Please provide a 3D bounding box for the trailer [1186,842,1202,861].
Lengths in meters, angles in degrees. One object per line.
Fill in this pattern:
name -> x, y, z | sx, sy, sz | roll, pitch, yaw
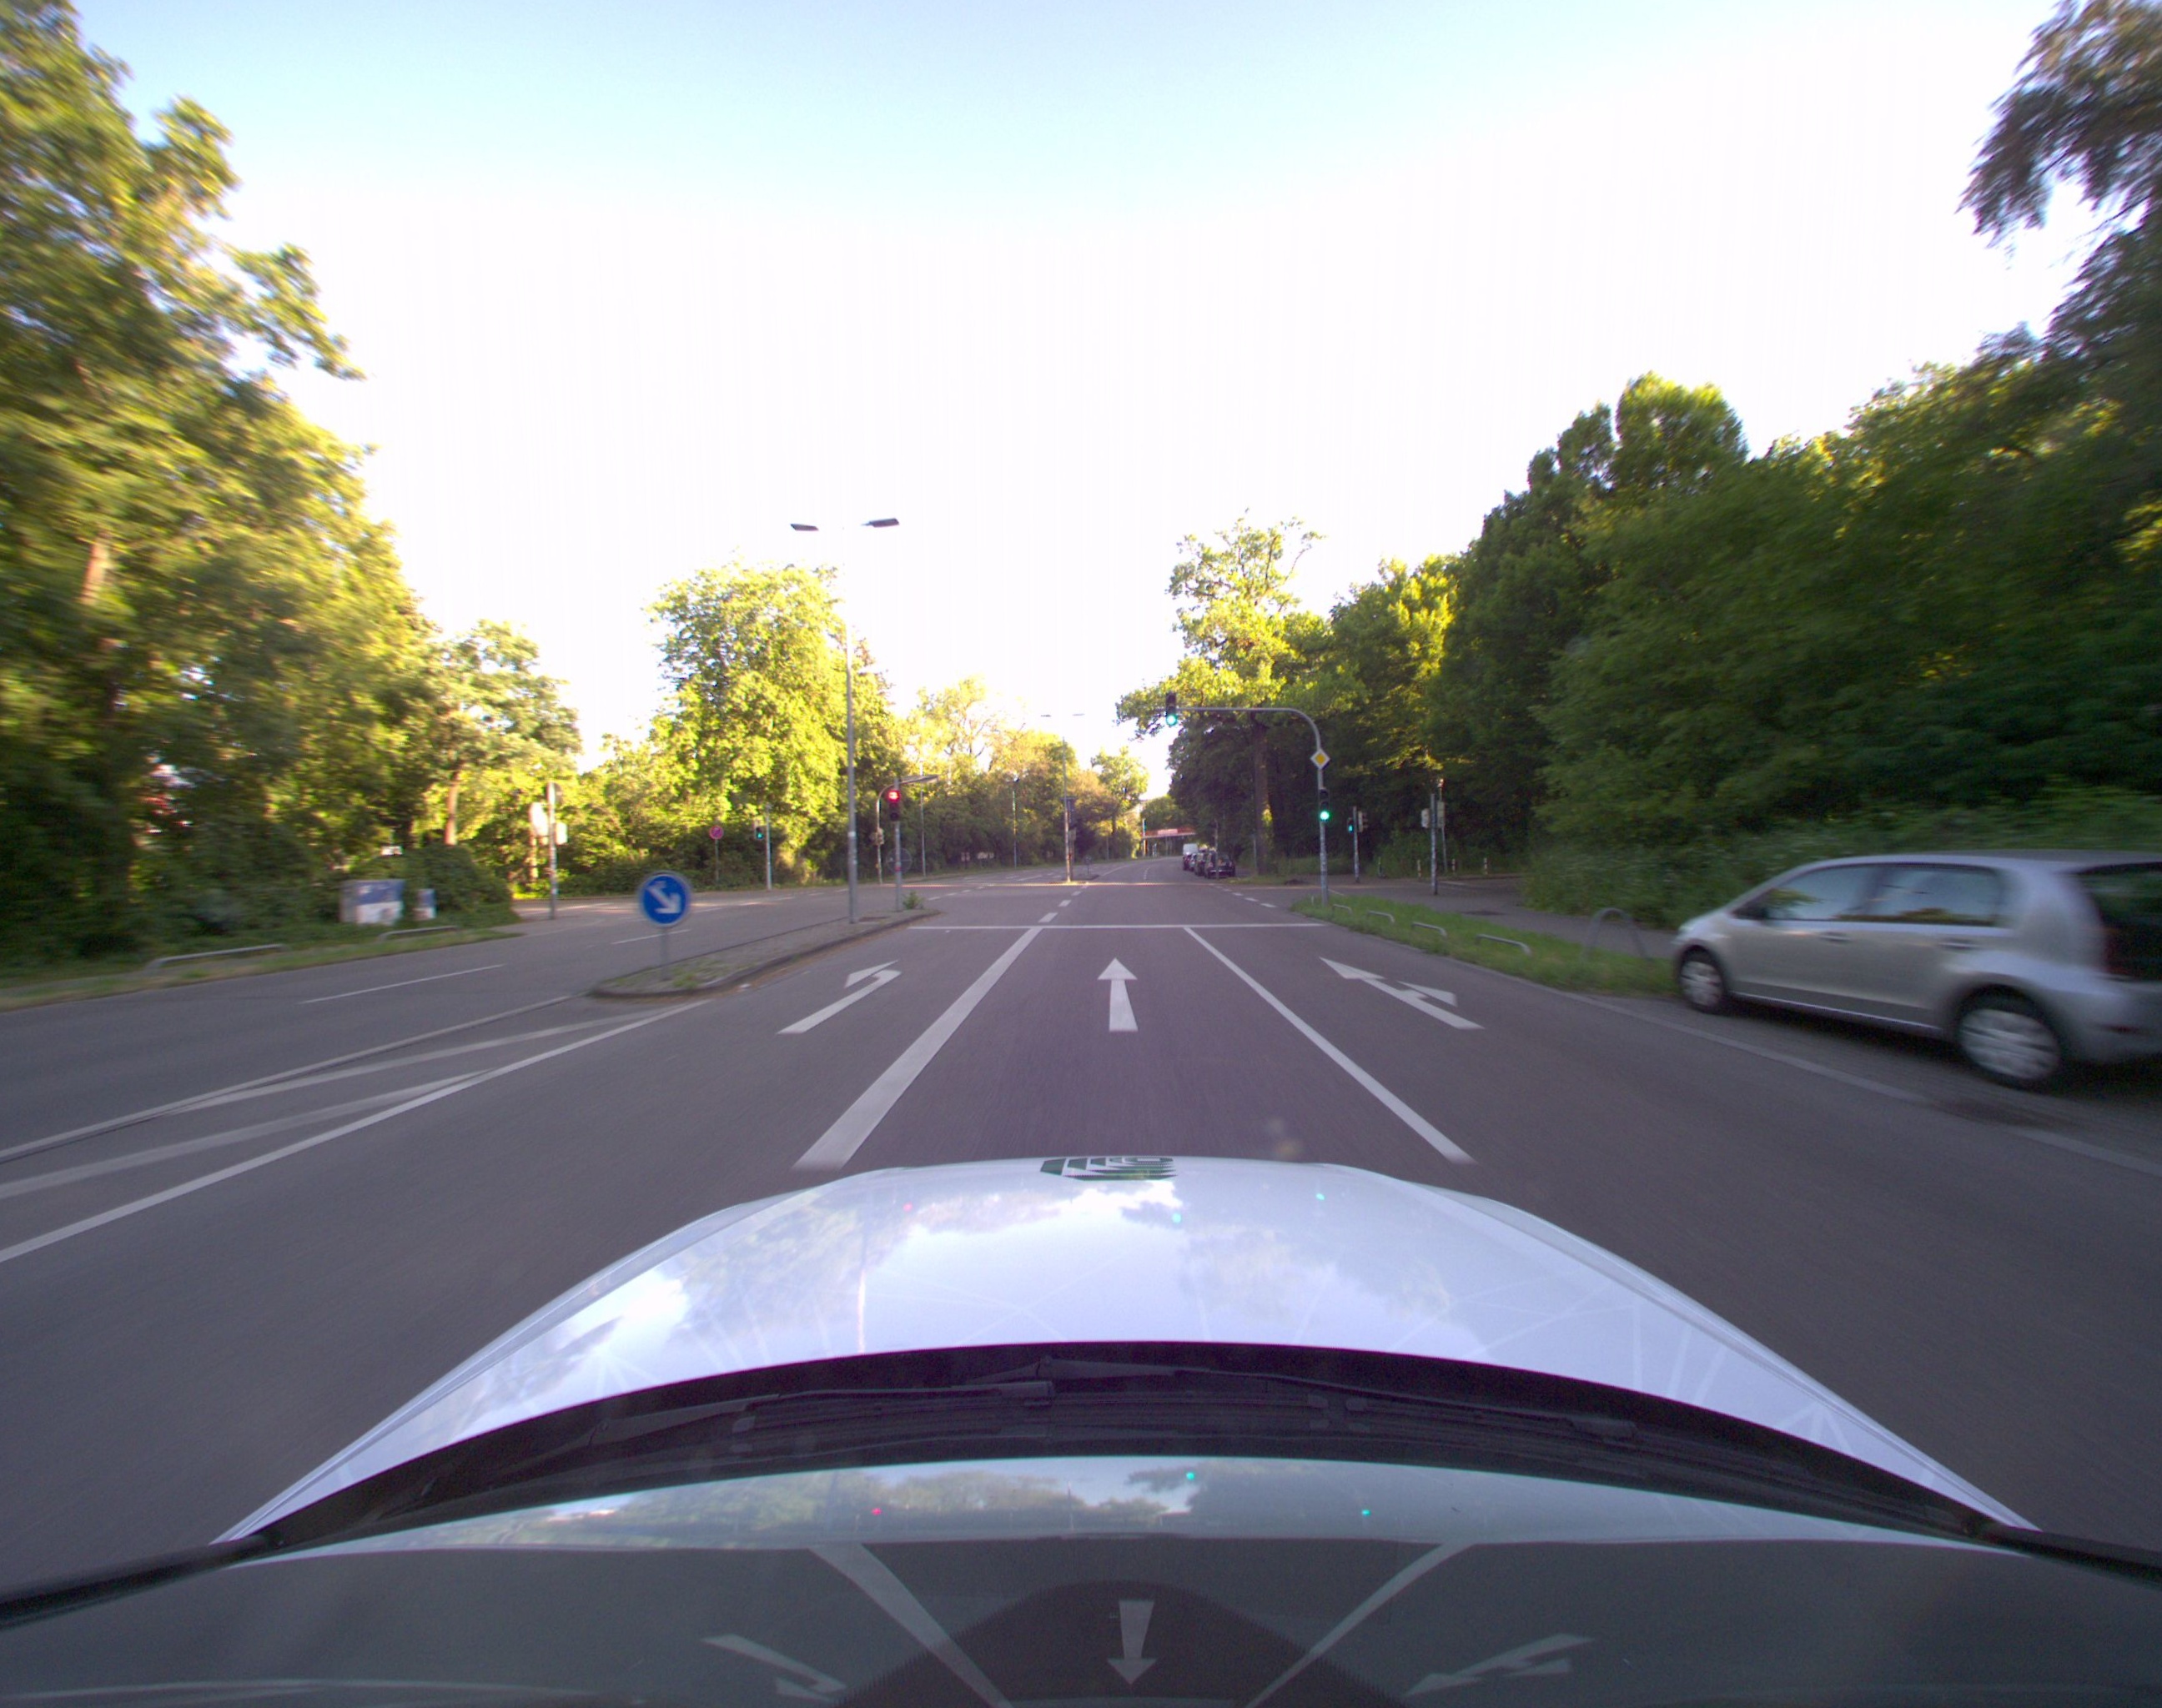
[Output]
trailer -> 15.326, -0.304, 110.015 | 1.892, 2.423, 5.140 | -3, -1, 9

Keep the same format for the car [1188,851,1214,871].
car -> 9.498, 0.547, 64.798 | 1.710, 1.411, 4.129 | -3, 0, 5

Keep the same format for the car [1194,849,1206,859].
car -> 18.755, -0.015, 128.451 | 1.575, 1.495, 3.191 | -3, -1, 12

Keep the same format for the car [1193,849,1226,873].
car -> 8.465, 0.471, 54.056 | 1.710, 1.469, 4.994 | -3, 0, 5

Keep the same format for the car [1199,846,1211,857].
car -> 22.903, -0.423, 150.635 | 1.856, 1.981, 5.492 | -3, 0, 12

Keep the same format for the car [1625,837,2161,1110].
car -> 6.528, 0.663, 6.491 | 1.713, 1.469, 3.872 | -3, 0, -1

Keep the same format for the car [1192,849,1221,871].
car -> 9.156, 0.427, 59.601 | 1.710, 1.469, 4.207 | -3, 0, 5

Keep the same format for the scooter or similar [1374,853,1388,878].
scooter or similar -> 13.882, 0.514, 37.721 | 0.375, 1.144, 1.226 | -2, 0, 10

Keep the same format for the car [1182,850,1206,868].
car -> 9.626, 0.424, 69.754 | 1.710, 1.411, 4.493 | -3, 0, 5

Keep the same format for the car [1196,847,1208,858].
car -> 20.508, -0.250, 138.171 | 1.748, 1.804, 4.750 | -3, 0, 10

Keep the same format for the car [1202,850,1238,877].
car -> 8.079, 0.532, 47.630 | 1.710, 1.469, 3.761 | -3, 0, 5

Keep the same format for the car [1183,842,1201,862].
car -> 14.101, -0.257, 103.390 | 1.892, 2.423, 5.591 | -3, 0, 9
